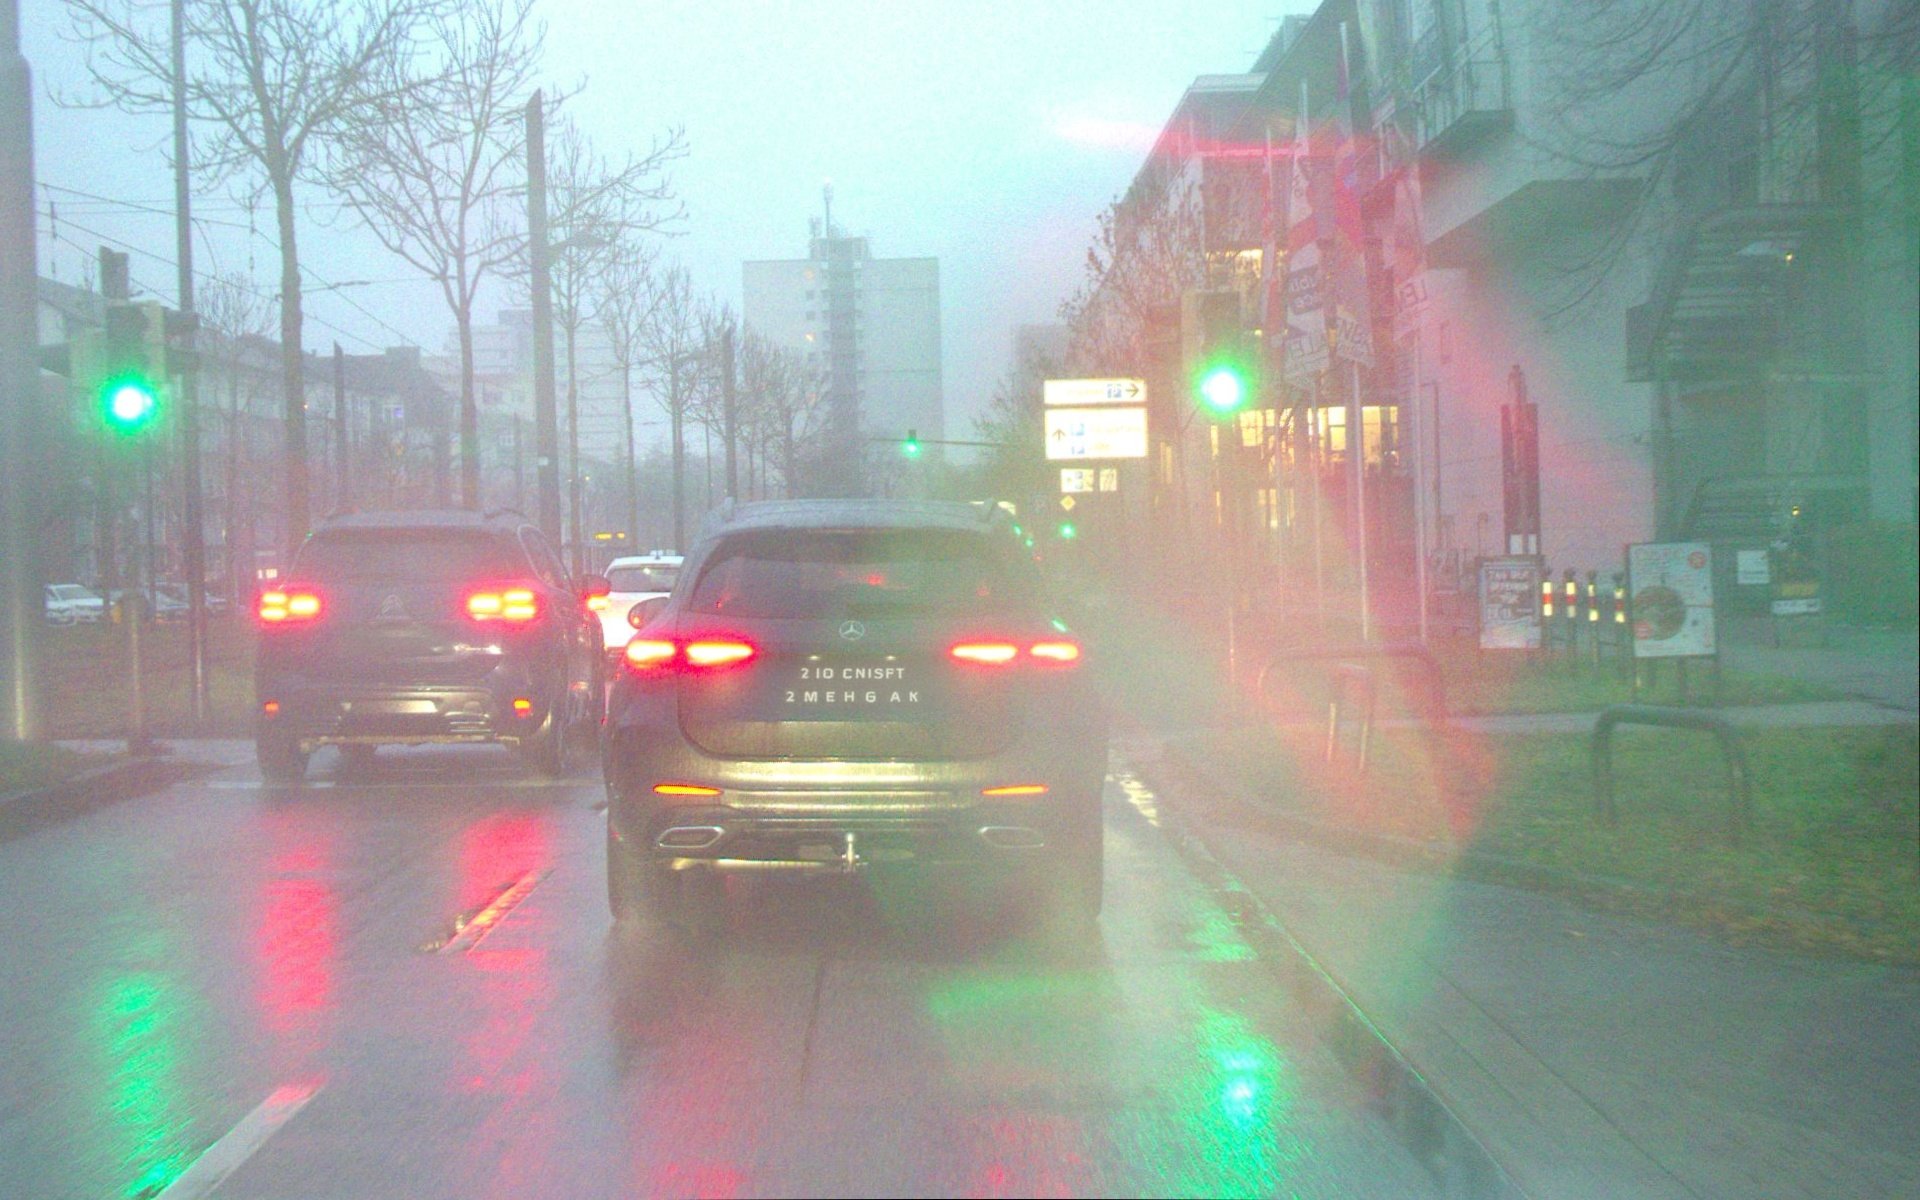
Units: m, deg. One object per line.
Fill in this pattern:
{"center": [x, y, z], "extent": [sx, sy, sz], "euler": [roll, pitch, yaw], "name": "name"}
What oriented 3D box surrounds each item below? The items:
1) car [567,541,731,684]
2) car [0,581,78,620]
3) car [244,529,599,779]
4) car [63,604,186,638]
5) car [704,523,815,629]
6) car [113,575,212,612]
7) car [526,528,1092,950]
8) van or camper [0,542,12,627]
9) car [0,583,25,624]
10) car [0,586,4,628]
{"center": [-3.682, 0.124, 41.167], "extent": [1.689, 1.630, 3.474], "euler": [1, 1, -1], "name": "car"}
{"center": [-29.287, 0.019, 106.845], "extent": [3.413, 1.143, 1.688], "euler": [1, 1, 31], "name": "car"}
{"center": [-3.361, 0.291, 22.120], "extent": [1.817, 1.445, 4.001], "euler": [1, 1, -3], "name": "car"}
{"center": [-29.199, 0.724, 120.075], "extent": [4.183, 1.112, 1.678], "euler": [1, 1, 30], "name": "car"}
{"center": [-3.416, -0.405, 59.009], "extent": [1.662, 1.753, 3.568], "euler": [1, 0, 0], "name": "car"}
{"center": [-29.597, -0.248, 127.559], "extent": [3.763, 1.332, 1.450], "euler": [0, 1, 35], "name": "car"}
{"center": [-0.568, 0.479, 14.049], "extent": [1.993, 1.478, 3.700], "euler": [1, 0, -1], "name": "car"}
{"center": [-29.590, -0.483, 95.933], "extent": [6.872, 2.352, 1.996], "euler": [1, 1, 33], "name": "van or camper"}
{"center": [-29.998, 0.078, 103.094], "extent": [3.535, 1.196, 1.879], "euler": [1, 1, 31], "name": "car"}
{"center": [-29.916, 0.185, 100.657], "extent": [3.535, 1.208, 1.745], "euler": [1, 1, 31], "name": "car"}
